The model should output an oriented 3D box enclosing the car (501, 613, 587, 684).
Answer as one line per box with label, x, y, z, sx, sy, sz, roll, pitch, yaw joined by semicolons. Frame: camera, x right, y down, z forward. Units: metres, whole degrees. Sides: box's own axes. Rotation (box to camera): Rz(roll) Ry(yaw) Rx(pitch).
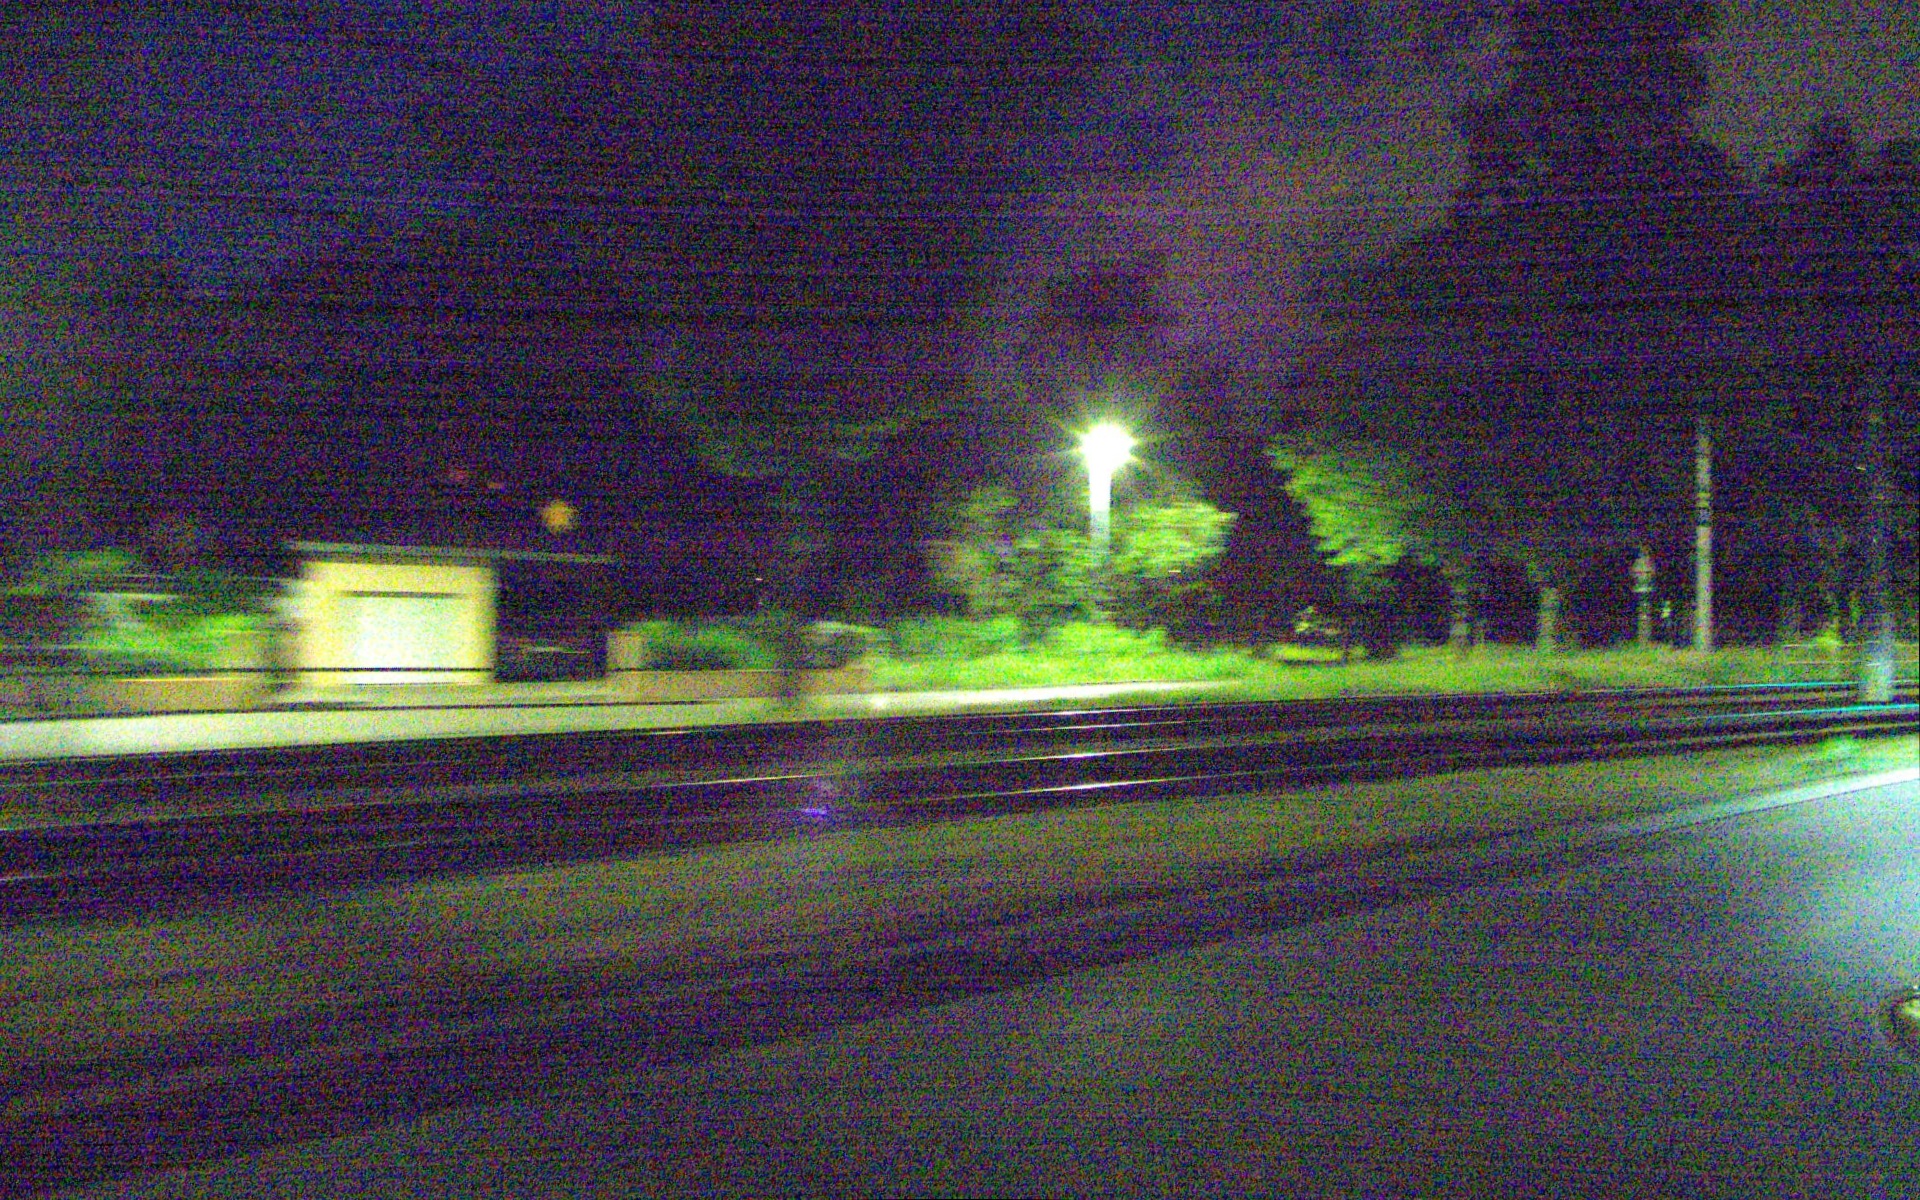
car;-10.886;1.210;26.138;1.735;1.630;3.972;2;-1;-27
